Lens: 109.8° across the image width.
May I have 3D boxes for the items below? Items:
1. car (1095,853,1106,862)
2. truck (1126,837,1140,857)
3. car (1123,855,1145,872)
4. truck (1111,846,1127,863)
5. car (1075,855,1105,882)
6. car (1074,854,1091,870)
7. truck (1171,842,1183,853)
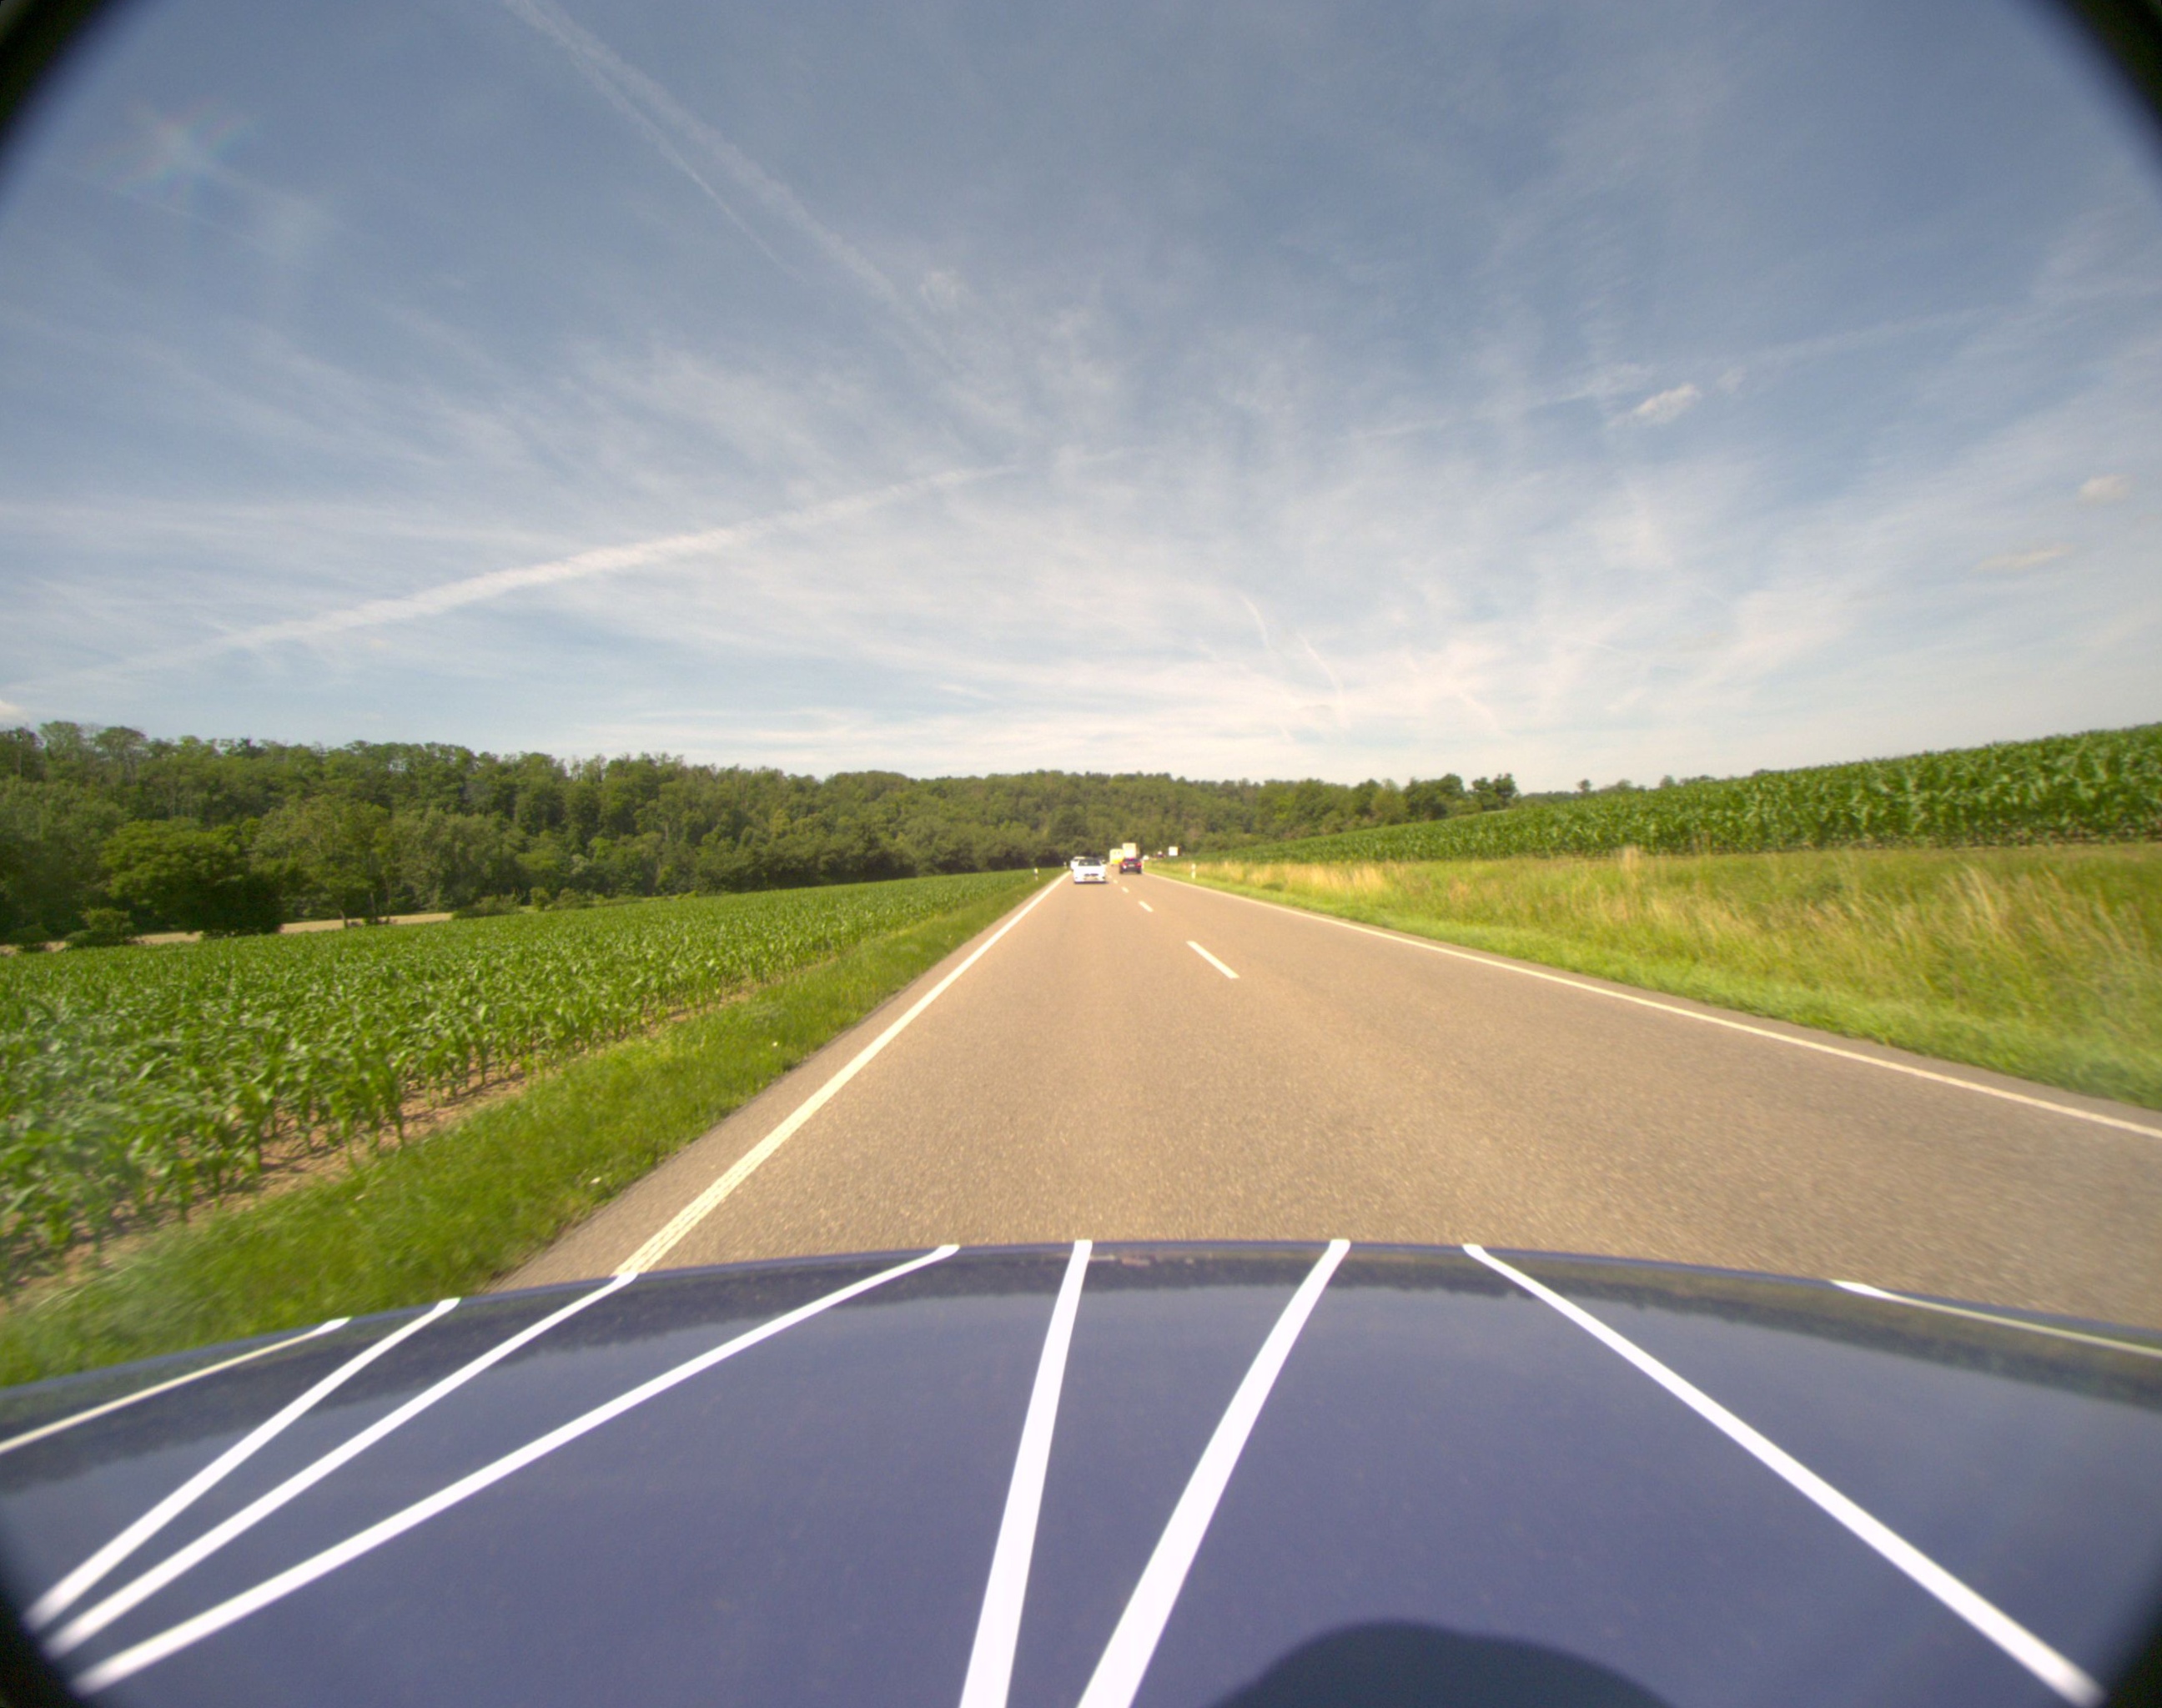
[{"bbox_3d":[3.648,0.607,141.983,1.743,1.445,4.034,-1,1,-1],"label":"car"},{"bbox_3d":[10.801,-1.358,158.123,2.833,3.969,16.536,0,0,4],"label":"truck"},{"bbox_3d":[4.704,0.807,67.675,1.677,1.448,4.350,-1,0,0],"label":"car"},{"bbox_3d":[6.191,0.035,124.527,2.213,2.656,6.416,0,1,0],"label":"truck"},{"bbox_3d":[0.551,0.855,46.319,1.743,1.445,4.035,-1,1,1],"label":"car"},{"bbox_3d":[0.202,0.787,80.284,1.717,1.523,3.999,-2,1,1],"label":"car"},{"bbox_3d":[30.903,-2.045,244.529,2.745,3.558,9.736,-1,0,15],"label":"truck"}]
